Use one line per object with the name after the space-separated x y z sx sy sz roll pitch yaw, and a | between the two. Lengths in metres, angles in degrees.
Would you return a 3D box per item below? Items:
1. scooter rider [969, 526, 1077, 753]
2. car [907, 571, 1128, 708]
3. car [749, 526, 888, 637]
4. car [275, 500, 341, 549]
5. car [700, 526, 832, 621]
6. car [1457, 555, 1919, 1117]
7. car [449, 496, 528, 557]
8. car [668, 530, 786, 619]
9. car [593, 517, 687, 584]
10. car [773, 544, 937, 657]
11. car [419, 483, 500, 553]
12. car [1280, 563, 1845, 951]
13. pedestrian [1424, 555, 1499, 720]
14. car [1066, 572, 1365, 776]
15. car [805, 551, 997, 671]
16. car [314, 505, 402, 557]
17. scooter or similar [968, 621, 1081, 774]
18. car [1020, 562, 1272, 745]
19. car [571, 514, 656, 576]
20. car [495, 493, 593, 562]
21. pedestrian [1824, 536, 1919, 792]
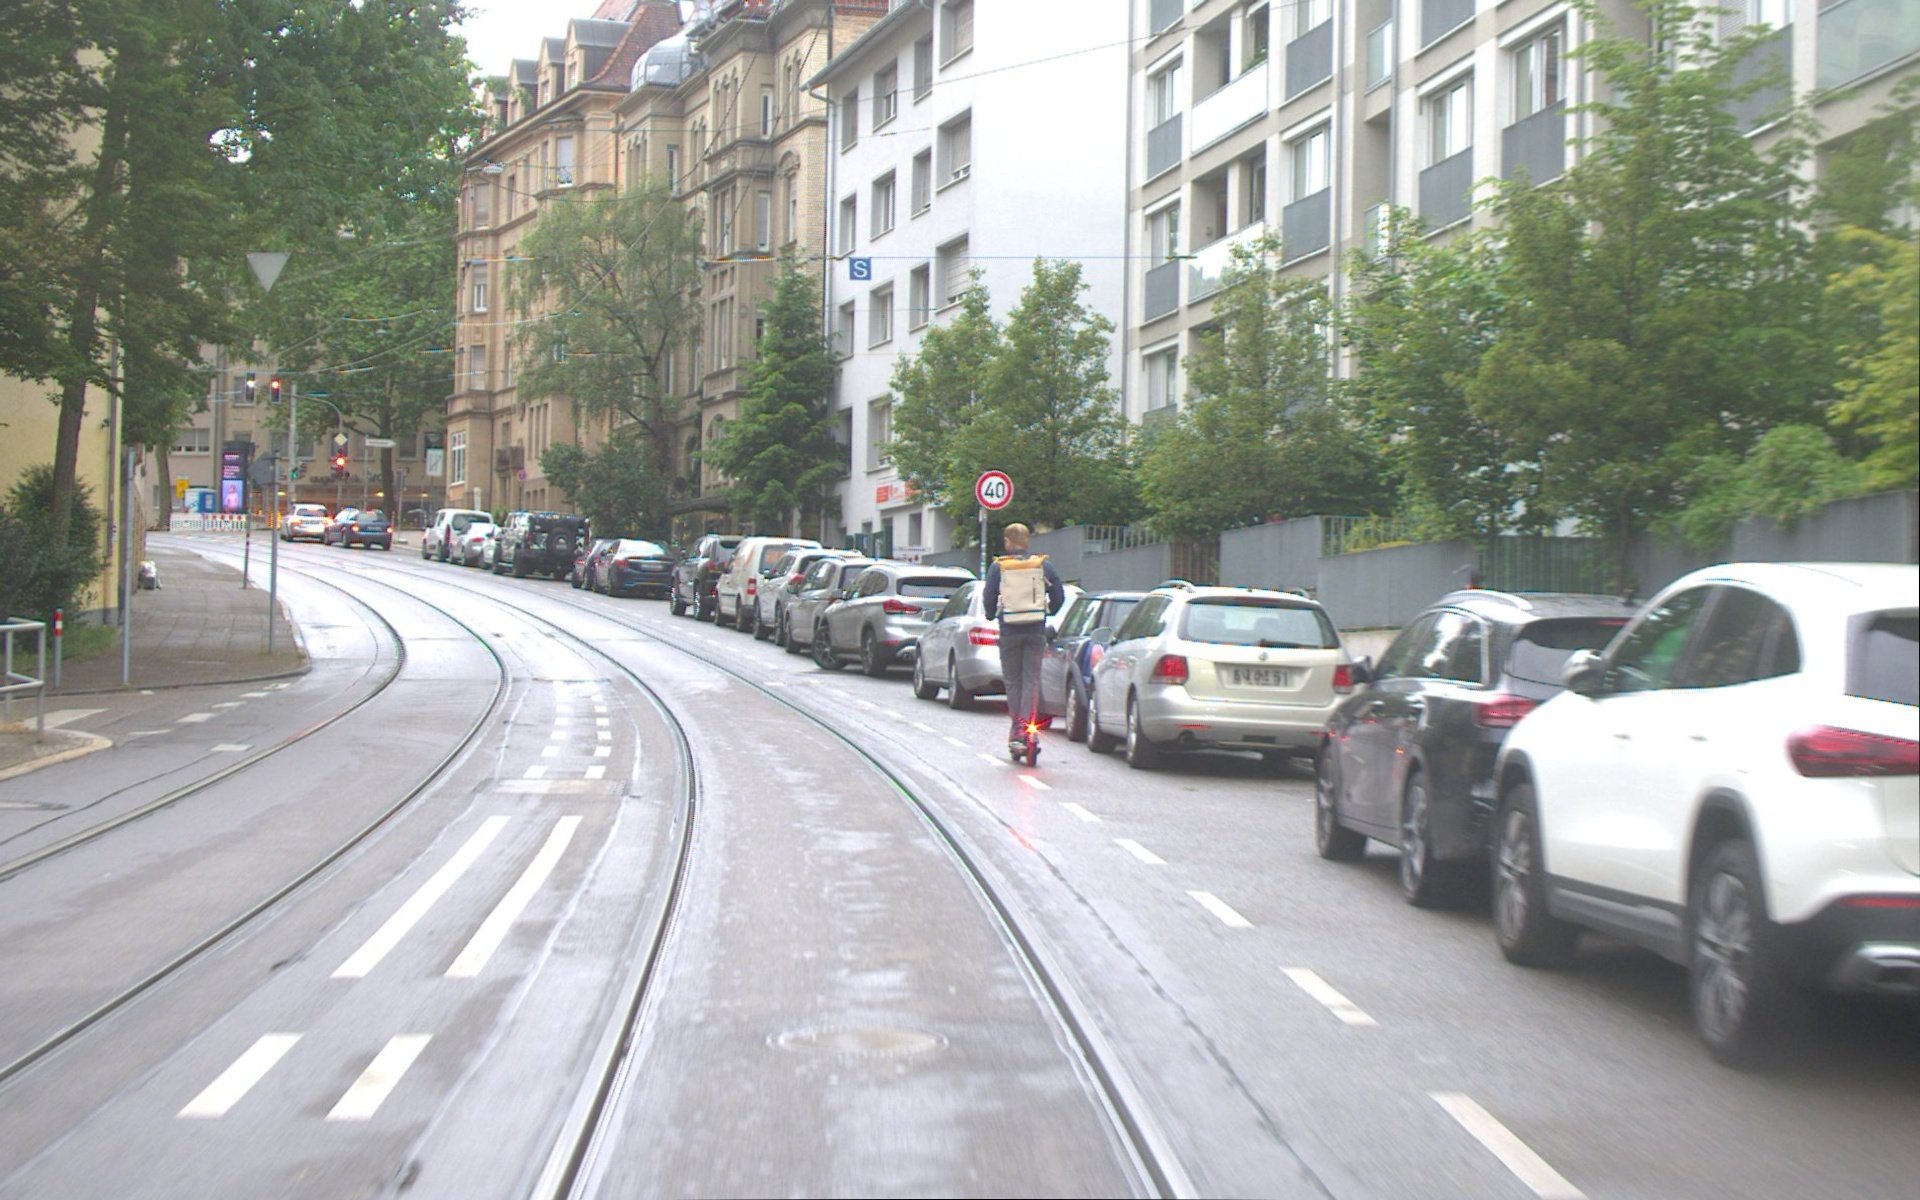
0.483 0.296 26.789 0.623 1.700 0.844 3 1 -8 | scooter rider
0.600 0.415 40.029 1.761 1.430 4.640 1 1 -9 | car
-2.558 -0.362 61.141 1.766 1.781 4.250 3 1 -11 | car
-25.437 -2.961 134.035 1.856 1.728 4.141 3 1 -19 | car
-3.831 -0.541 67.257 1.766 1.678 4.250 3 1 -14 | car
3.180 0.704 12.175 1.837 1.567 4.249 3 1 -4 | car
-15.129 -2.374 110.149 2.027 1.818 4.141 3 1 -14 | car
-4.900 -0.563 71.905 1.766 1.678 4.250 3 1 -12 | car
-7.960 -1.244 85.222 1.766 1.512 4.141 3 1 -12 | car
-1.739 -0.023 55.384 1.766 1.609 4.250 3 1 -13 | car
-16.793 -2.758 115.197 2.027 2.210 4.141 3 1 -16 | car
2.823 0.659 17.158 1.701 1.507 4.572 4 1 -3 | car
4.769 0.350 32.716 0.569 1.537 0.651 -1 1 -3 | pedestrian
2.010 0.545 28.328 1.661 1.466 4.509 3 0 -5 | car
-0.905 0.131 49.780 1.766 1.610 4.249 1 1 -15 | car
-22.523 -2.586 128.522 2.027 1.728 4.140 2 1 -27 | car
0.486 0.737 26.773 0.513 1.046 2.009 4 1 -8 | scooter or similar
1.721 0.469 32.940 1.701 1.507 3.715 3 1 -7 | car
-9.114 -1.460 90.196 1.649 1.531 3.890 -1 2 -14 | car
-12.022 -2.112 99.195 2.027 1.818 4.369 3 1 -17 | car
5.842 0.378 21.355 0.569 1.537 0.930 -1 1 -11 | pedestrian
